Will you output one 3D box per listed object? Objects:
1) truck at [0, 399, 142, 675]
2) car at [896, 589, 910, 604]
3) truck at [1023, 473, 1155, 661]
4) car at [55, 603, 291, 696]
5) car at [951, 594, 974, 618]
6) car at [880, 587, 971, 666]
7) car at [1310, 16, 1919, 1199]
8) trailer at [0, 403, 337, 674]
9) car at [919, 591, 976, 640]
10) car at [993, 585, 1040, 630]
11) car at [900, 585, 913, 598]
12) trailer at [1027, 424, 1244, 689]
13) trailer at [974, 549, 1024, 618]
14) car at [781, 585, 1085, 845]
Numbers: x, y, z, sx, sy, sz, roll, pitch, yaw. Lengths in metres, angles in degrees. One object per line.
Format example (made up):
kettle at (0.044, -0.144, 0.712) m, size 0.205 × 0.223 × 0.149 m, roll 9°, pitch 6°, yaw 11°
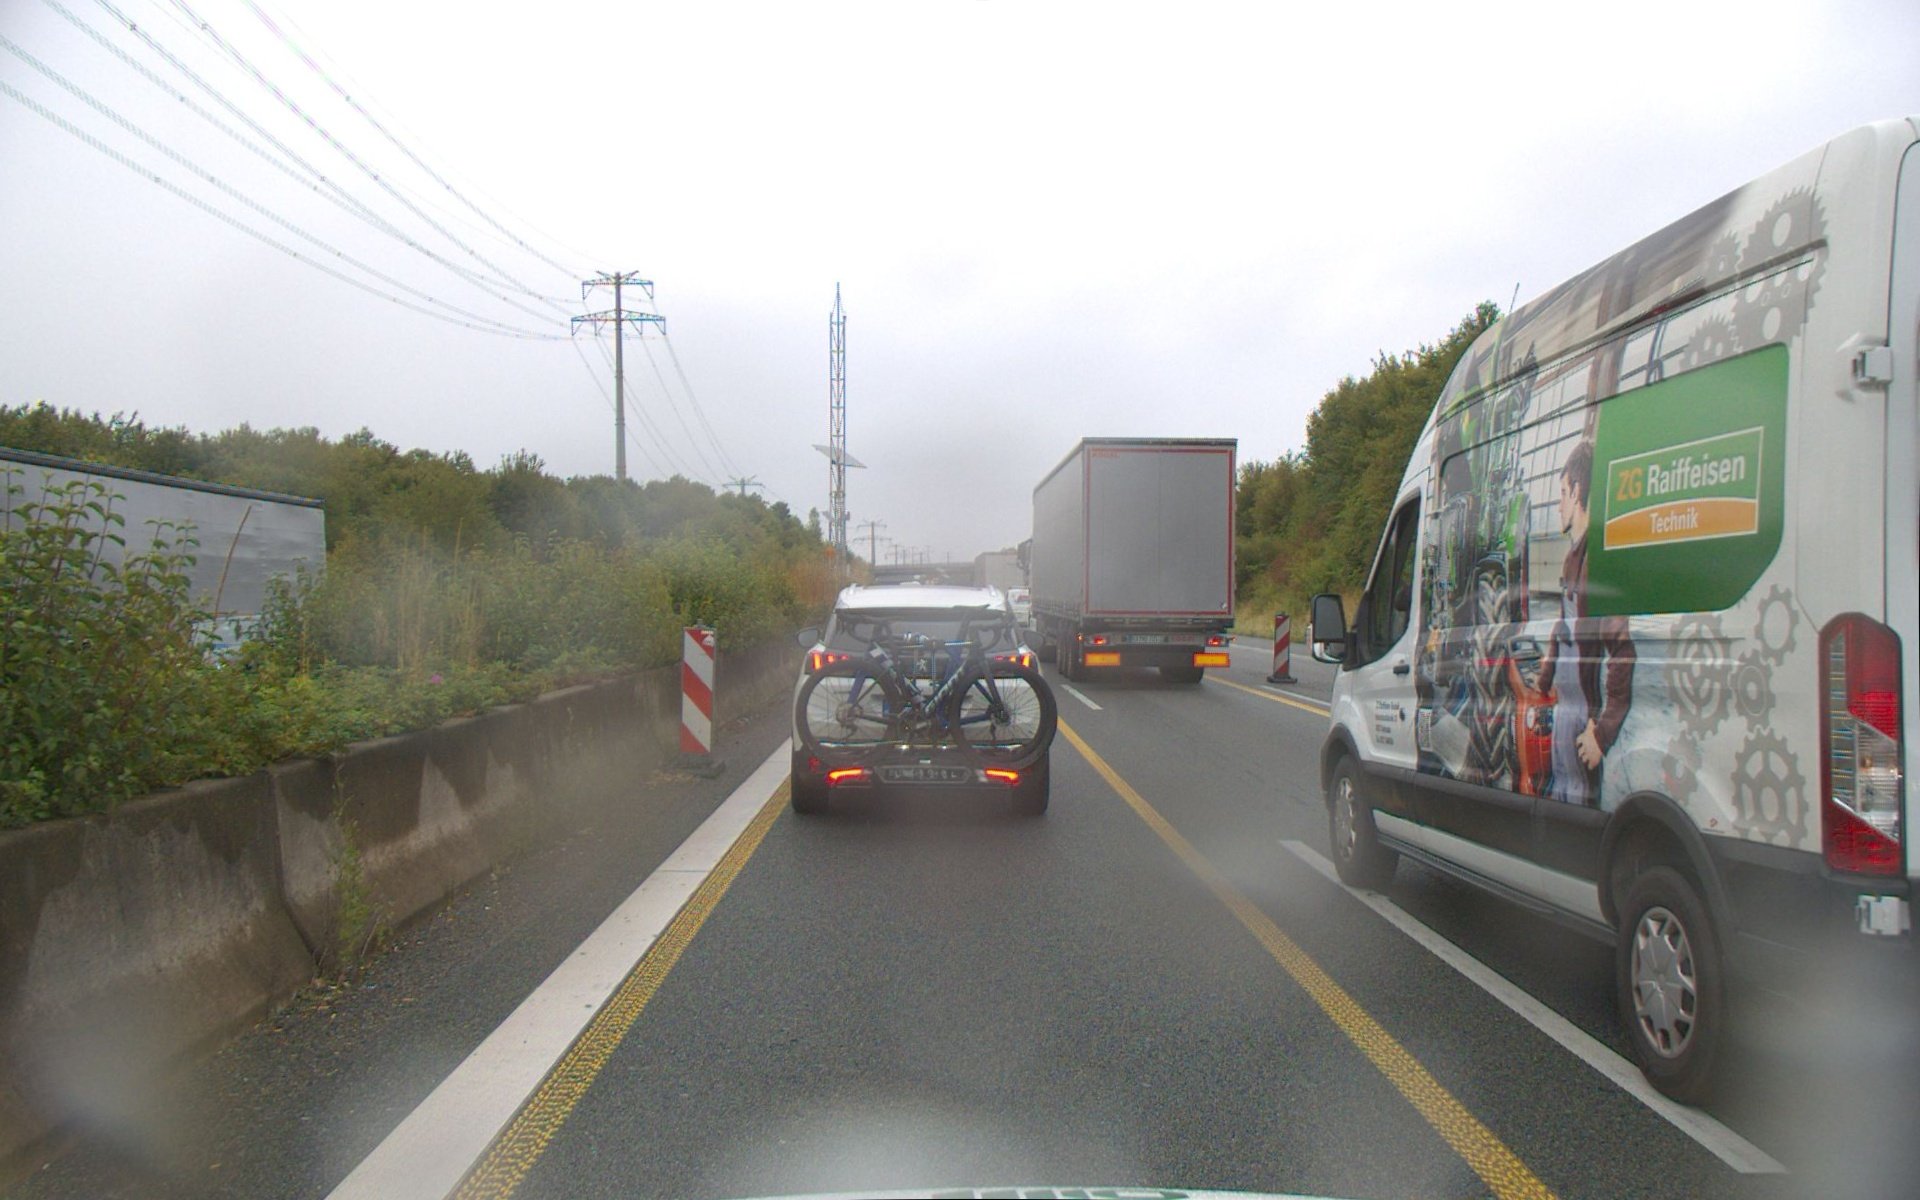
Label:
truck at (-15.568, -0.878, 25.084) m, size 2.730 × 4.093 × 7.231 m, roll -3°, pitch 0°, yaw -2°
car at (-8.083, -0.508, 233.870) m, size 1.892 × 2.008 × 4.000 m, roll 0°, pitch 1°, yaw -1°
truck at (3.016, -0.754, 40.091) m, size 2.651 × 4.211 × 5.689 m, roll 0°, pitch 0°, yaw -1°
car at (-11.558, 0.680, 24.585) m, size 1.641 × 1.229 × 3.999 m, roll 0°, pitch 0°, yaw -1°
car at (0.218, 0.538, 150.185) m, size 2.067 × 2.008 × 4.000 m, roll 0°, pitch 1°, yaw -1°
car at (-0.736, 0.526, 35.094) m, size 1.812 × 1.557 × 3.999 m, roll 0°, pitch 0°, yaw -1°
car at (3.091, 0.053, 6.732) m, size 1.953 × 2.831 × 5.754 m, roll 0°, pitch 0°, yaw -2°
trailer at (-15.721, -0.898, 31.667) m, size 2.730 × 4.093 × 13.246 m, roll -3°, pitch 0°, yaw -2°
car at (-0.433, 0.487, 54.826) m, size 1.812 × 1.557 × 3.999 m, roll 0°, pitch 0°, yaw -1°
car at (2.434, 0.316, 71.923) m, size 1.792 × 1.871 × 4.654 m, roll 0°, pitch 0°, yaw -1°
car at (-8.168, -1.259, 252.005) m, size 1.892 × 1.944 × 4.000 m, roll 0°, pitch 1°, yaw -1°
trailer at (3.097, -0.717, 33.339) m, size 2.651 × 4.218 × 13.728 m, roll 0°, pitch 0°, yaw -1°
trailer at (2.435, -1.013, 106.884) m, size 2.638 × 4.148 × 13.630 m, roll 0°, pitch 0°, yaw -1°
car at (-0.205, 0.684, 12.317) m, size 1.812 × 1.557 × 4.767 m, roll 0°, pitch 0°, yaw -1°
